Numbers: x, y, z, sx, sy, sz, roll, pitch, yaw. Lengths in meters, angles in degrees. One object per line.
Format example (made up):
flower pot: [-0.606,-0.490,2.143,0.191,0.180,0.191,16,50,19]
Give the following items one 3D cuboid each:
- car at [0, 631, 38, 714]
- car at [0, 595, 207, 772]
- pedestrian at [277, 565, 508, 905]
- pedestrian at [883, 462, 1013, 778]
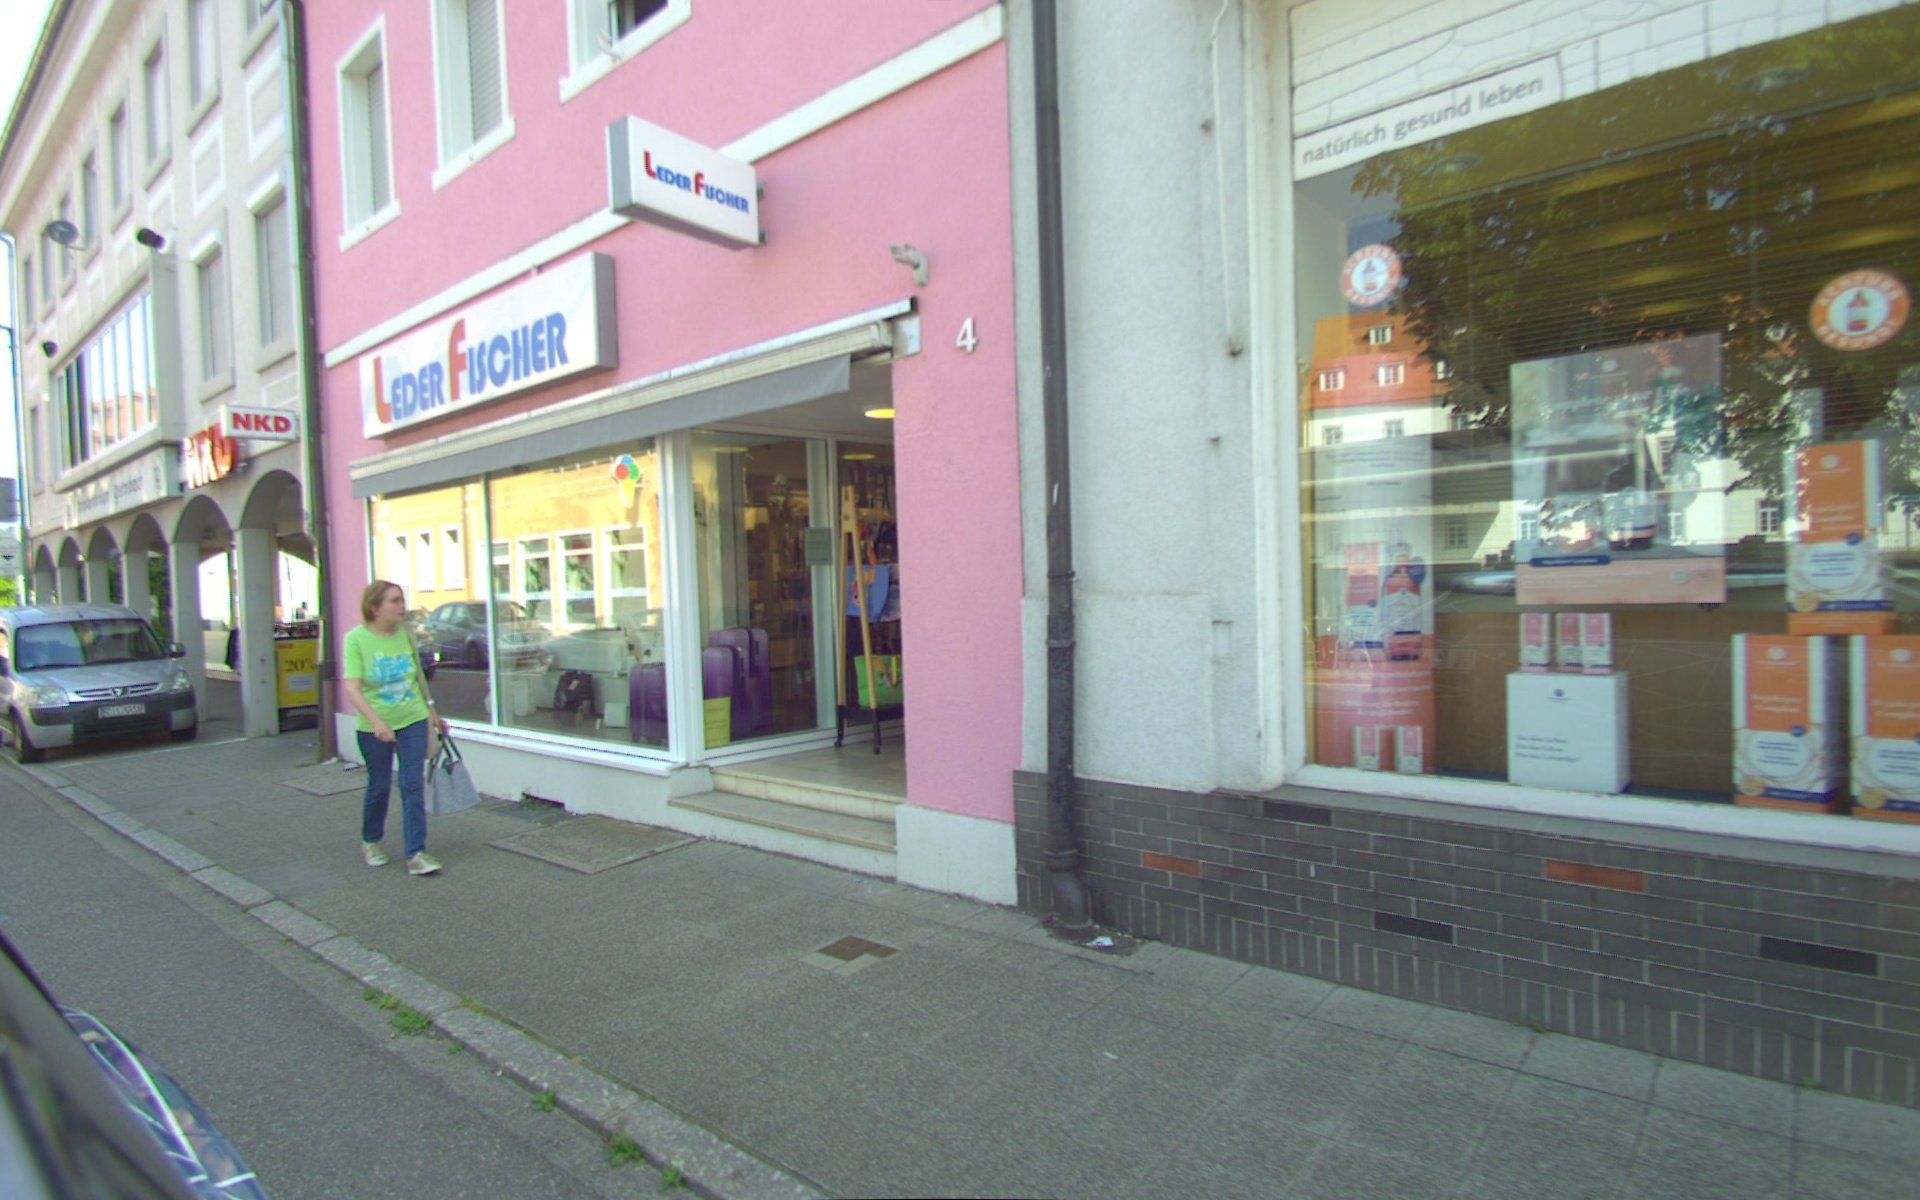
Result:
car: [-19.487,1.426,19.691,4.453,1.481,1.784,-2,1,42]
car: [-10.971,0.931,12.489,4.142,1.752,1.690,-2,2,40]
pedestrian: [-3.114,0.669,5.561,0.859,1.644,0.777,-2,3,43]
pedestrian: [-0.058,0.112,5.990,0.665,1.735,0.715,-2,0,2]
